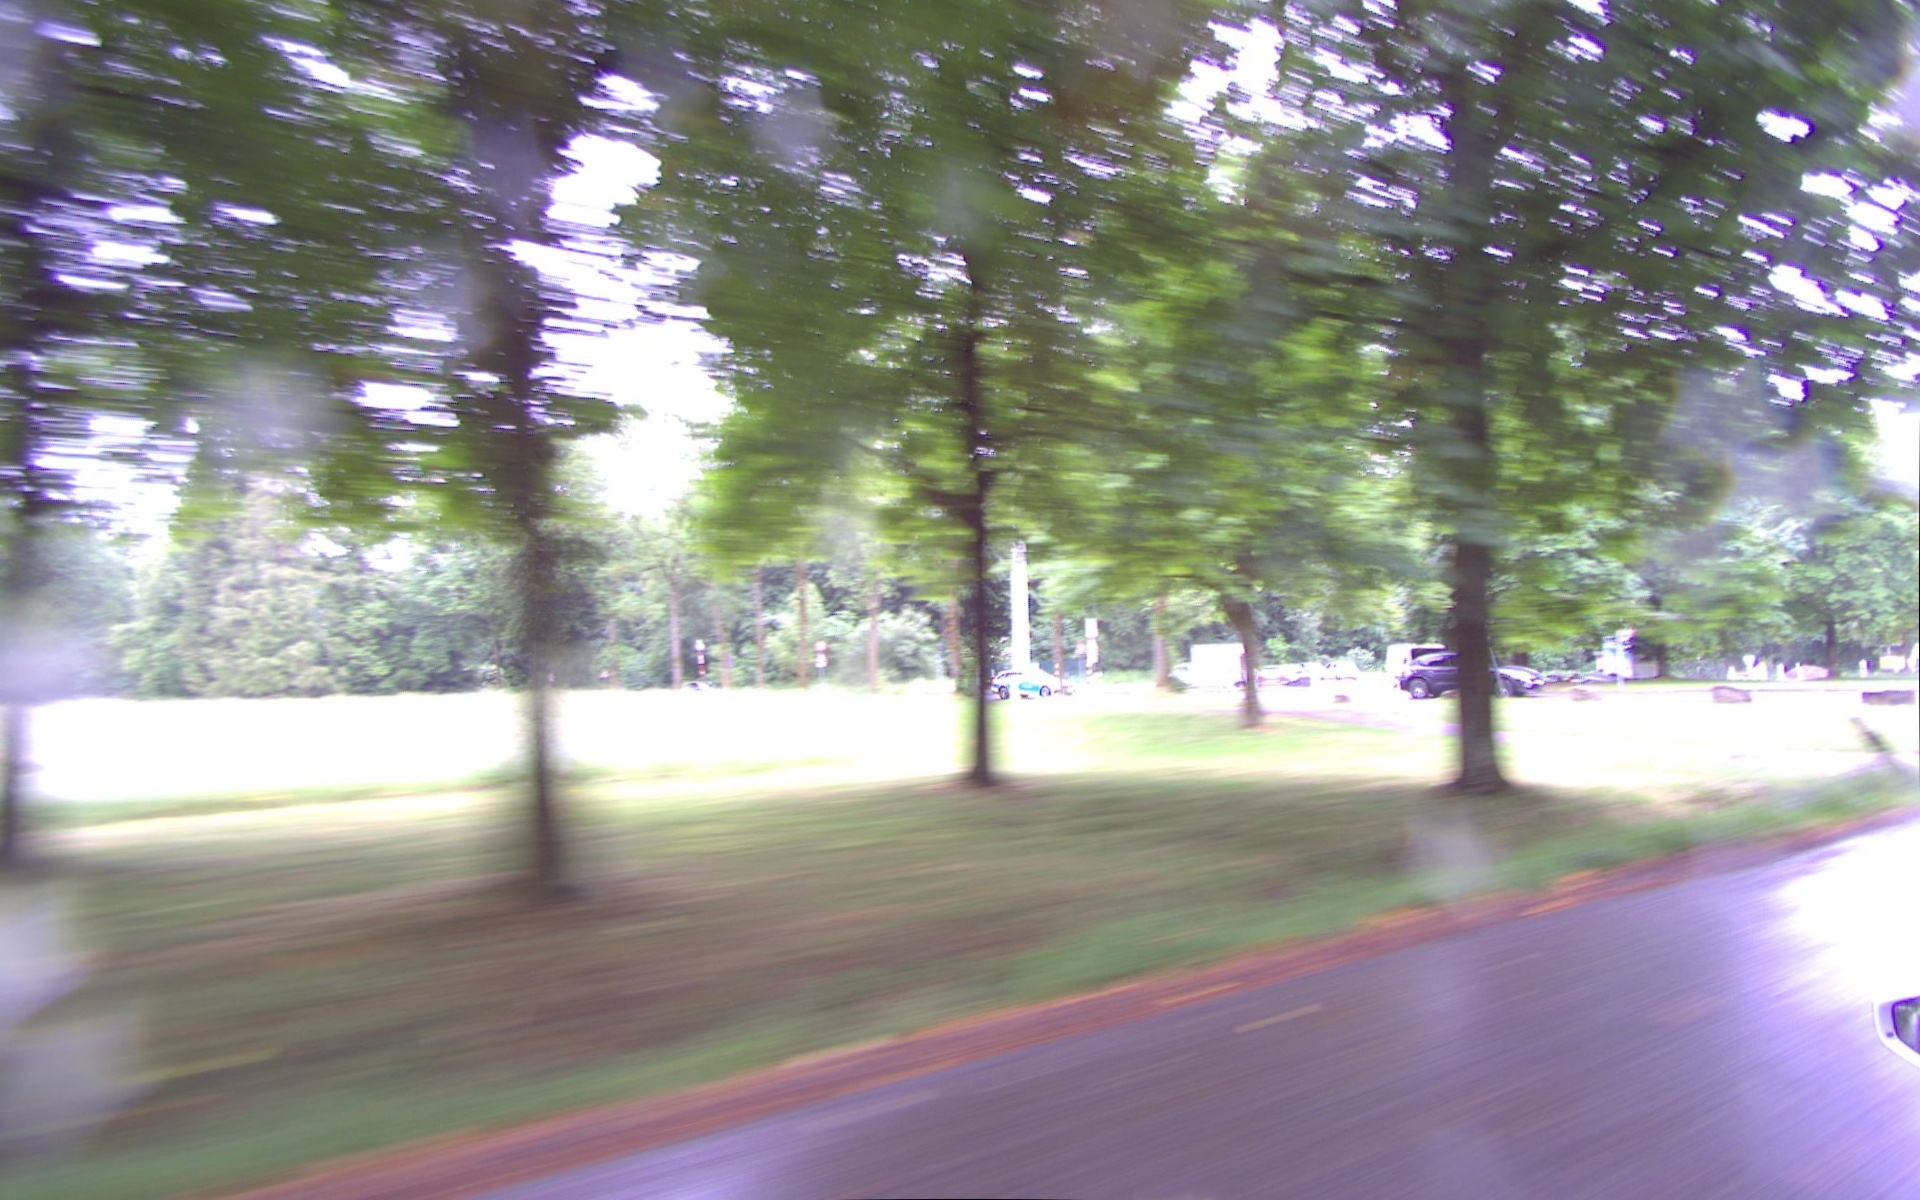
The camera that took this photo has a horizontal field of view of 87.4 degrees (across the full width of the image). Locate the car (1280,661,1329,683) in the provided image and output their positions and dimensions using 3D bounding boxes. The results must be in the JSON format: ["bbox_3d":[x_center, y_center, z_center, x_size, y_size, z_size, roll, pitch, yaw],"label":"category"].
[{"bbox_3d":[27.455,5.716,80.089,1.964,1.605,3.994,0,-3,-11],"label":"car"}]

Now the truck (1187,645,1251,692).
[{"bbox_3d":[14.049,3.693,54.410,3.328,2.474,1.851,2,-4,-45],"label":"truck"}]

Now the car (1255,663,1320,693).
[{"bbox_3d":[17.058,4.036,52.213,1.743,1.447,4.086,-4,-5,41],"label":"car"}]

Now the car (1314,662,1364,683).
[{"bbox_3d":[30.257,5.754,80.313,1.964,1.605,3.994,0,-3,-11],"label":"car"}]

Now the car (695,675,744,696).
[{"bbox_3d":[-18.308,6.501,76.374,1.720,1.502,4.124,2,-4,-44],"label":"car"}]

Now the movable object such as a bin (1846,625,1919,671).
[{"bbox_3d":[70.399,3.668,75.886,3.883,3.336,4.616,2,-5,-41],"label":"movable object such as a bin"}]

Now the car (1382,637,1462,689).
[{"bbox_3d":[23.133,3.165,50.585,2.344,2.438,5.990,0,-4,11],"label":"car"}]

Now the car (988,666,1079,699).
[{"bbox_3d":[3.790,4.286,52.697,1.720,1.621,4.840,2,-4,-44],"label":"car"}]

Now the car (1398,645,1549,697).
[{"bbox_3d":[18.496,2.593,36.325,4.515,1.730,1.721,-6,-5,44],"label":"car"}]
